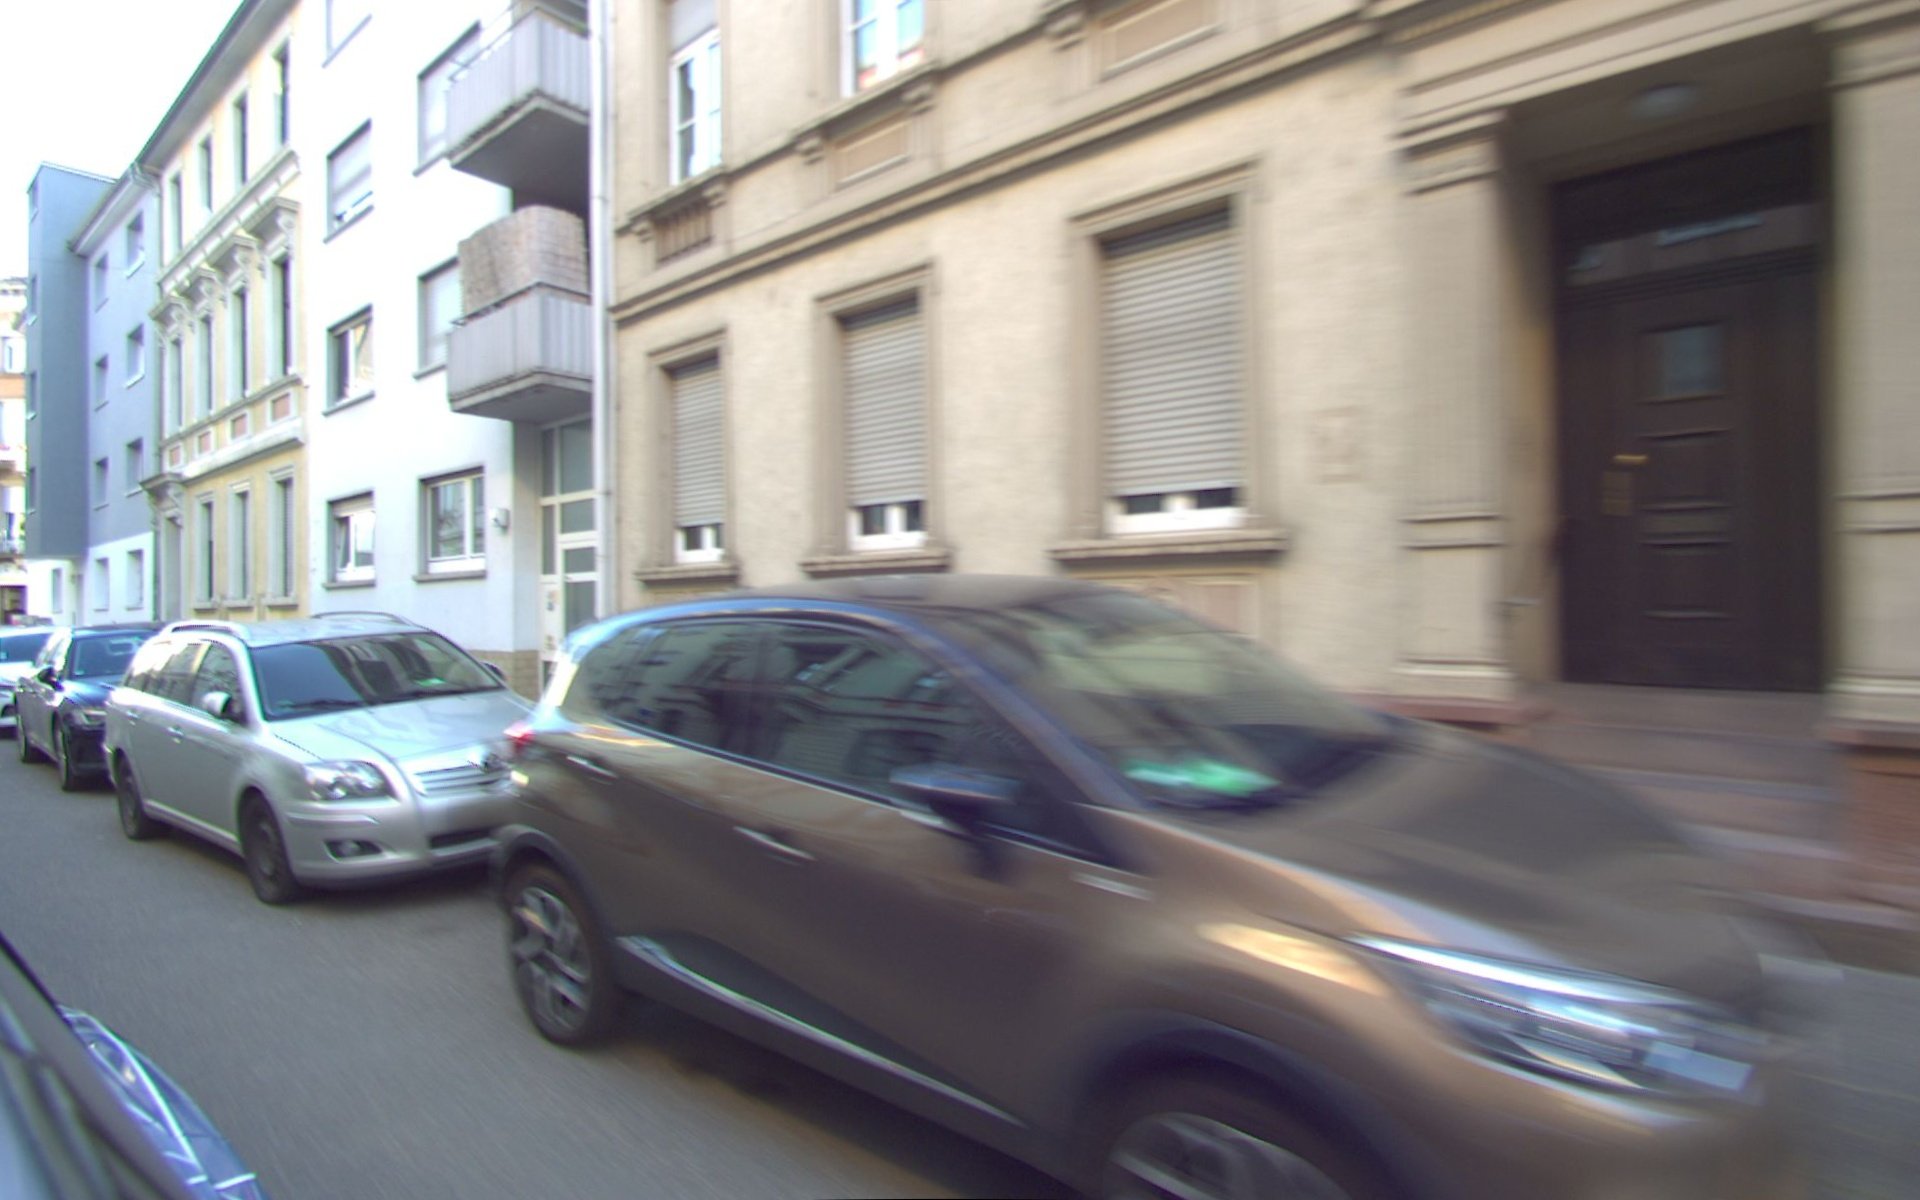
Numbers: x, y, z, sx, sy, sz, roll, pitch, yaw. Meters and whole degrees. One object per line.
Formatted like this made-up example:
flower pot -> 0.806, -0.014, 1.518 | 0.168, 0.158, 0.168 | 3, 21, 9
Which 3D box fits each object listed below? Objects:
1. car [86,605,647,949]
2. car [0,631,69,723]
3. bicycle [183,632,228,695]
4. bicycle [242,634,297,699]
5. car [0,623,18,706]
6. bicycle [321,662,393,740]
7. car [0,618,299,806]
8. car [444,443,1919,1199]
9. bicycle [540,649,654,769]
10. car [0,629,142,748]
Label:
car -> -4.116, 0.857, 6.680 | 4.429, 1.551, 1.773 | -2, -2, 39
car -> -17.270, 1.333, 18.087 | 3.953, 1.500, 1.620 | -2, -2, 43
bicycle -> -13.993, 1.154, 18.749 | 1.543, 1.123, 0.377 | -2, -2, 42
bicycle -> -11.434, 1.085, 16.741 | 1.541, 1.017, 0.289 | -2, -2, 38
car -> -21.869, 1.402, 21.921 | 3.779, 1.724, 1.622 | -2, -2, 39
bicycle -> -8.503, 1.402, 14.261 | 1.541, 1.016, 0.289 | -2, -1, 36
car -> -8.671, 1.003, 10.604 | 4.491, 1.551, 1.772 | -2, -2, 41
car -> 0.219, 0.657, 3.147 | 4.066, 1.588, 1.773 | -2, -2, 39
bicycle -> -3.403, 0.976, 9.420 | 1.543, 1.017, 0.288 | -2, -2, 42
car -> -13.427, 1.207, 14.826 | 3.786, 1.500, 1.621 | -2, -2, 41
